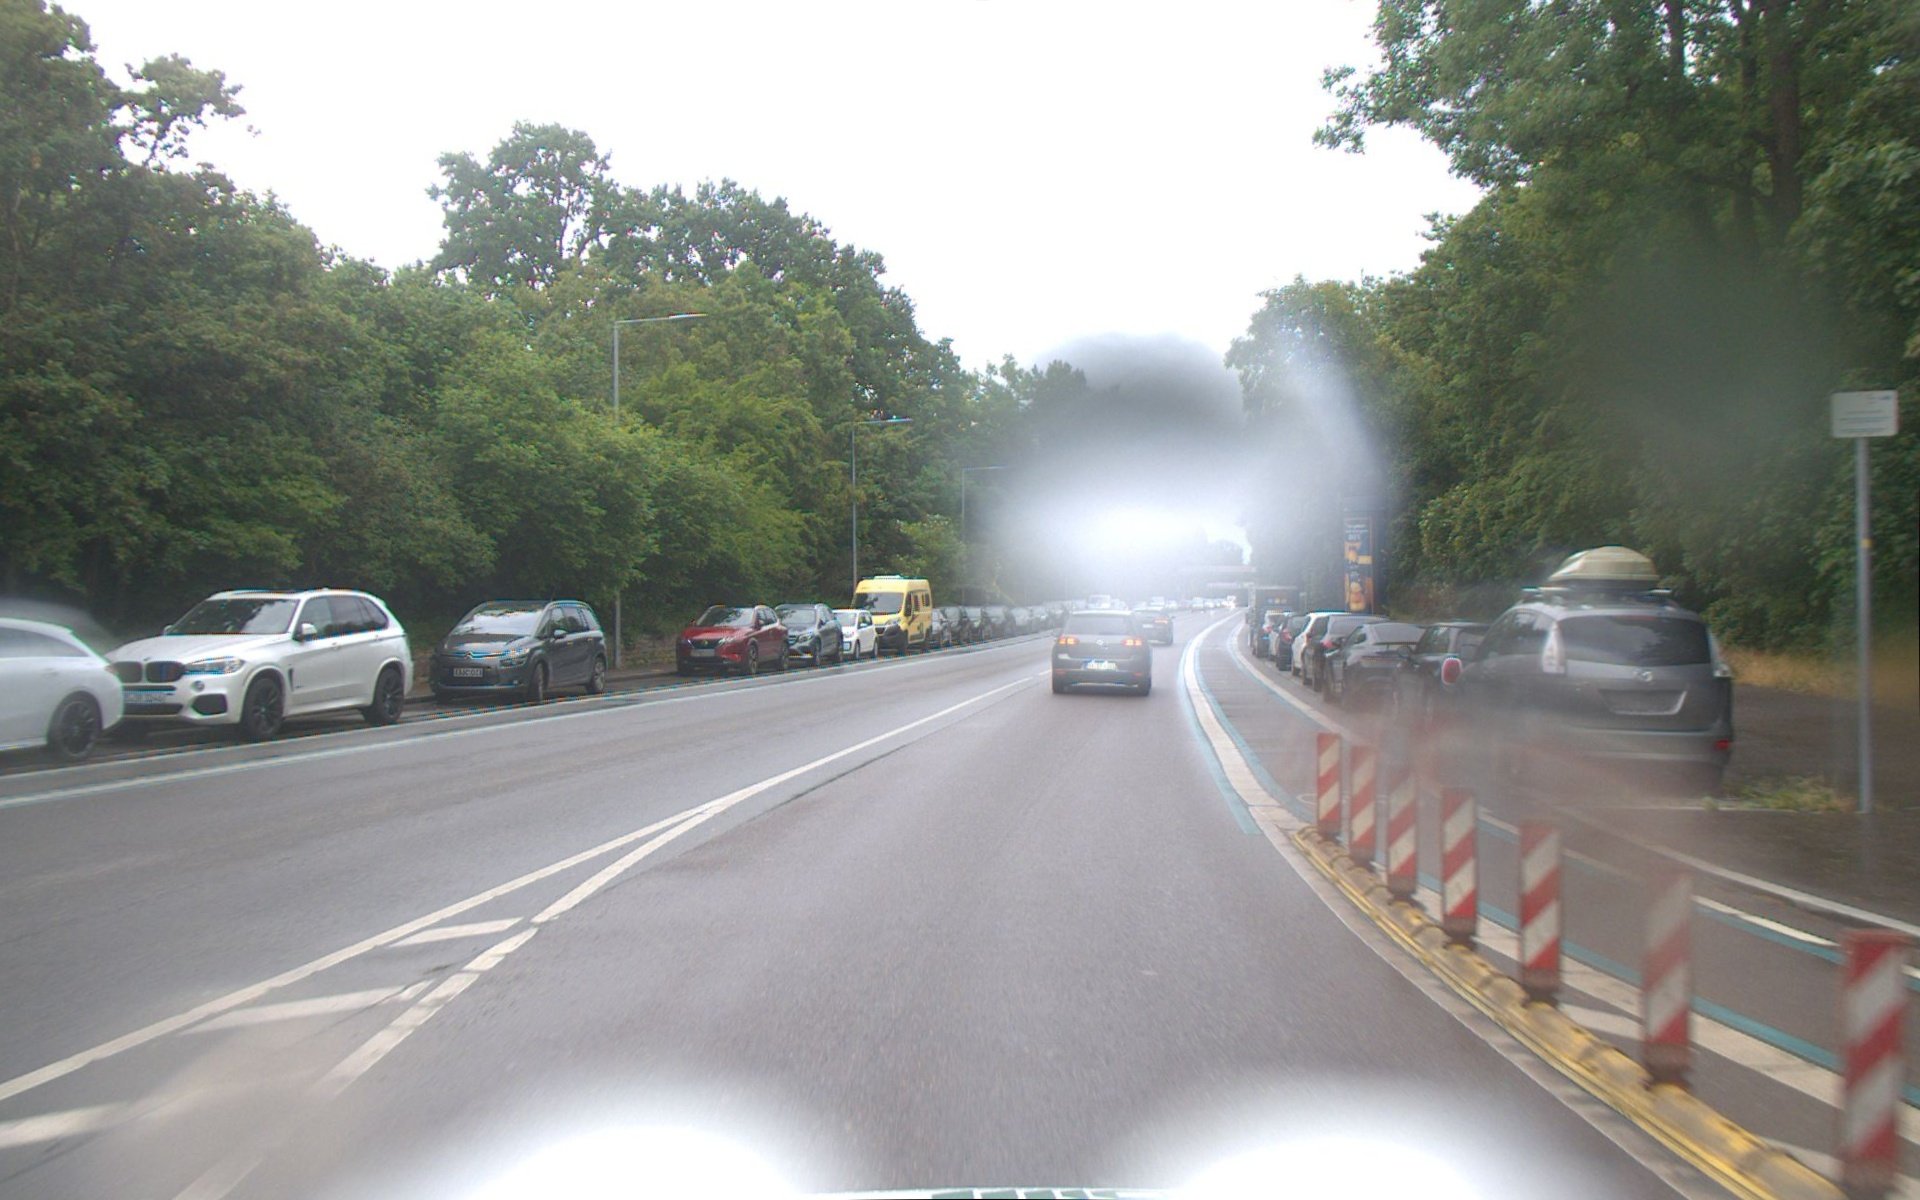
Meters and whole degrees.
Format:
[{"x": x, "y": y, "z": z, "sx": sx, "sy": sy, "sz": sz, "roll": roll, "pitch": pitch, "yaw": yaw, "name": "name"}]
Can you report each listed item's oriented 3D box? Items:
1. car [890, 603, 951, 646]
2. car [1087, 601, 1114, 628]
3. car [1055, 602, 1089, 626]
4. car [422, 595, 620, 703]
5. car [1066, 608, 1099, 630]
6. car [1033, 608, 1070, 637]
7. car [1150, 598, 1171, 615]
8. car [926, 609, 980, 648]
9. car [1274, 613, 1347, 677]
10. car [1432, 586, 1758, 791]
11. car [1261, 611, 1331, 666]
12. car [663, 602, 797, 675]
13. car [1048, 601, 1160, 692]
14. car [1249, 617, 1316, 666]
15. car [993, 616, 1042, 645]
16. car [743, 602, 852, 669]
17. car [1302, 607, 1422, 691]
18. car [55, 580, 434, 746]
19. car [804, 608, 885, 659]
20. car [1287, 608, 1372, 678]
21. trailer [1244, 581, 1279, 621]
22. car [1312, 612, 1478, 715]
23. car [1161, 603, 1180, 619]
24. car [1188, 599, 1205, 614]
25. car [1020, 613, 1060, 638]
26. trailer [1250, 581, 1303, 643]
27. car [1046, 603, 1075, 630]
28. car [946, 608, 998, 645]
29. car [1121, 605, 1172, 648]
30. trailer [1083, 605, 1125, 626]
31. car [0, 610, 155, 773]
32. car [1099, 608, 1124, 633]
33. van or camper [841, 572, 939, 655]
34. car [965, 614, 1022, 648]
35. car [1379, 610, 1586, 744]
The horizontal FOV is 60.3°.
[{"x": -1.429, "y": 0.898, "z": 61.565, "sx": 1.643, "sy": 1.524, "sz": 4.152, "roll": -1, "pitch": 0, "yaw": 8, "name": "car"}, {"x": 11.070, "y": 1.114, "z": 130.005, "sx": 1.898, "sy": 2.049, "sz": 4.743, "roll": 0, "pitch": 0, "yaw": 7, "name": "car"}, {"x": 7.681, "y": 0.958, "z": 113.265, "sx": 1.839, "sy": 1.589, "sz": 4.472, "roll": 1, "pitch": 0, "yaw": 10, "name": "car"}, {"x": -7.437, "y": 0.789, "z": 28.512, "sx": 1.694, "sy": 1.678, "sz": 4.574, "roll": 1, "pitch": 0, "yaw": 7, "name": "car"}, {"x": 8.904, "y": 1.381, "z": 119.789, "sx": 1.951, "sy": 1.514, "sz": 4.472, "roll": 1, "pitch": 0, "yaw": 10, "name": "car"}, {"x": 5.283, "y": 1.279, "z": 95.418, "sx": 1.660, "sy": 1.611, "sz": 4.142, "roll": 0, "pitch": 0, "yaw": 10, "name": "car"}, {"x": 24.075, "y": 0.794, "z": 198.739, "sx": 2.112, "sy": 2.049, "sz": 5.035, "roll": 0, "pitch": 0, "yaw": 11, "name": "car"}, {"x": -0.263, "y": 1.151, "z": 67.278, "sx": 1.568, "sy": 1.536, "sz": 3.141, "roll": 0, "pitch": 0, "yaw": 11, "name": "car"}, {"x": 9.065, "y": 1.130, "z": 43.031, "sx": 1.623, "sy": 1.490, "sz": 3.903, "roll": 3, "pitch": 0, "yaw": 9, "name": "car"}, {"x": 5.795, "y": 0.740, "z": 15.653, "sx": 1.783, "sy": 1.643, "sz": 4.254, "roll": 1, "pitch": -1, "yaw": 5, "name": "car"}, {"x": 9.781, "y": 1.085, "z": 48.347, "sx": 1.583, "sy": 1.492, "sz": 4.003, "roll": 2, "pitch": 0, "yaw": 6, "name": "car"}, {"x": -5.461, "y": 0.900, "z": 39.824, "sx": 1.878, "sy": 1.645, "sz": 4.493, "roll": -1, "pitch": 0, "yaw": 10, "name": "car"}, {"x": 2.553, "y": 0.839, "z": 29.976, "sx": 1.832, "sy": 1.466, "sz": 4.298, "roll": 2, "pitch": -1, "yaw": 4, "name": "car"}, {"x": 10.285, "y": 1.289, "z": 52.965, "sx": 1.714, "sy": 1.418, "sz": 4.449, "roll": 2, "pitch": 0, "yaw": 7, "name": "car"}, {"x": 2.859, "y": 1.488, "z": 81.892, "sx": 1.830, "sy": 1.326, "sz": 4.474, "roll": 0, "pitch": 0, "yaw": 10, "name": "car"}, {"x": -4.392, "y": 0.936, "z": 45.433, "sx": 1.951, "sy": 1.730, "sz": 4.619, "roll": 0, "pitch": 0, "yaw": 8, "name": "car"}, {"x": 7.825, "y": 0.907, "z": 32.549, "sx": 1.817, "sy": 1.480, "sz": 4.754, "roll": 1, "pitch": 0, "yaw": 8, "name": "car"}, {"x": -8.659, "y": 0.708, "z": 20.634, "sx": 1.951, "sy": 1.796, "sz": 4.964, "roll": 0, "pitch": -1, "yaw": 9, "name": "car"}, {"x": -3.464, "y": 0.984, "z": 50.216, "sx": 1.583, "sy": 1.474, "sz": 3.660, "roll": -1, "pitch": 0, "yaw": 10, "name": "car"}, {"x": 8.427, "y": 0.940, "z": 37.965, "sx": 1.526, "sy": 1.486, "sz": 3.678, "roll": 1, "pitch": 0, "yaw": 7, "name": "car"}, {"x": 20.020, "y": 0.075, "z": 109.906, "sx": 2.086, "sy": 2.605, "sz": 4.300, "roll": 0, "pitch": 0, "yaw": 8, "name": "trailer"}, {"x": 6.748, "y": 0.936, "z": 26.077, "sx": 1.813, "sy": 1.423, "sz": 4.388, "roll": 2, "pitch": 0, "yaw": 5, "name": "car"}, {"x": 28.379, "y": 1.459, "z": 222.892, "sx": 2.112, "sy": 2.049, "sz": 5.035, "roll": 0, "pitch": 0, "yaw": 11, "name": "car"}, {"x": 28.614, "y": 0.783, "z": 199.996, "sx": 1.783, "sy": 1.736, "sz": 3.860, "roll": 1, "pitch": -1, "yaw": 10, "name": "car"}, {"x": 4.392, "y": 1.395, "z": 90.574, "sx": 1.660, "sy": 1.323, "sz": 4.196, "roll": 0, "pitch": 0, "yaw": 10, "name": "car"}, {"x": 12.199, "y": 0.437, "z": 63.956, "sx": 1.865, "sy": 2.287, "sz": 4.772, "roll": 1, "pitch": 0, "yaw": 9, "name": "trailer"}, {"x": 6.074, "y": 0.958, "z": 99.870, "sx": 1.429, "sy": 1.598, "sz": 2.986, "roll": 0, "pitch": 0, "yaw": 9, "name": "car"}, {"x": 0.538, "y": 1.156, "z": 72.573, "sx": 1.568, "sy": 1.536, "sz": 3.980, "roll": 0, "pitch": 0, "yaw": 11, "name": "car"}, {"x": 7.218, "y": 0.995, "z": 63.705, "sx": 1.841, "sy": 1.491, "sz": 4.003, "roll": 2, "pitch": 0, "yaw": 7, "name": "car"}, {"x": 11.725, "y": 1.278, "z": 134.743, "sx": 1.601, "sy": 1.657, "sz": 3.652, "roll": 0, "pitch": 0, "yaw": 41, "name": "trailer"}, {"x": -9.661, "y": 0.841, "z": 15.119, "sx": 1.682, "sy": 1.486, "sz": 4.712, "roll": 0, "pitch": 0, "yaw": 10, "name": "car"}, {"x": 12.881, "y": 1.737, "z": 140.387, "sx": 1.898, "sy": 2.049, "sz": 4.743, "roll": 0, "pitch": 0, "yaw": 7, "name": "car"}, {"x": -2.320, "y": 0.443, "z": 56.555, "sx": 2.098, "sy": 2.673, "sz": 5.687, "roll": 0, "pitch": 0, "yaw": 11, "name": "van or camper"}, {"x": 1.579, "y": 1.399, "z": 76.793, "sx": 1.951, "sy": 1.477, "sz": 4.142, "roll": 0, "pitch": 0, "yaw": 11, "name": "car"}, {"x": 6.398, "y": 0.889, "z": 20.628, "sx": 1.661, "sy": 1.437, "sz": 3.706, "roll": 2, "pitch": 0, "yaw": 5, "name": "car"}]
